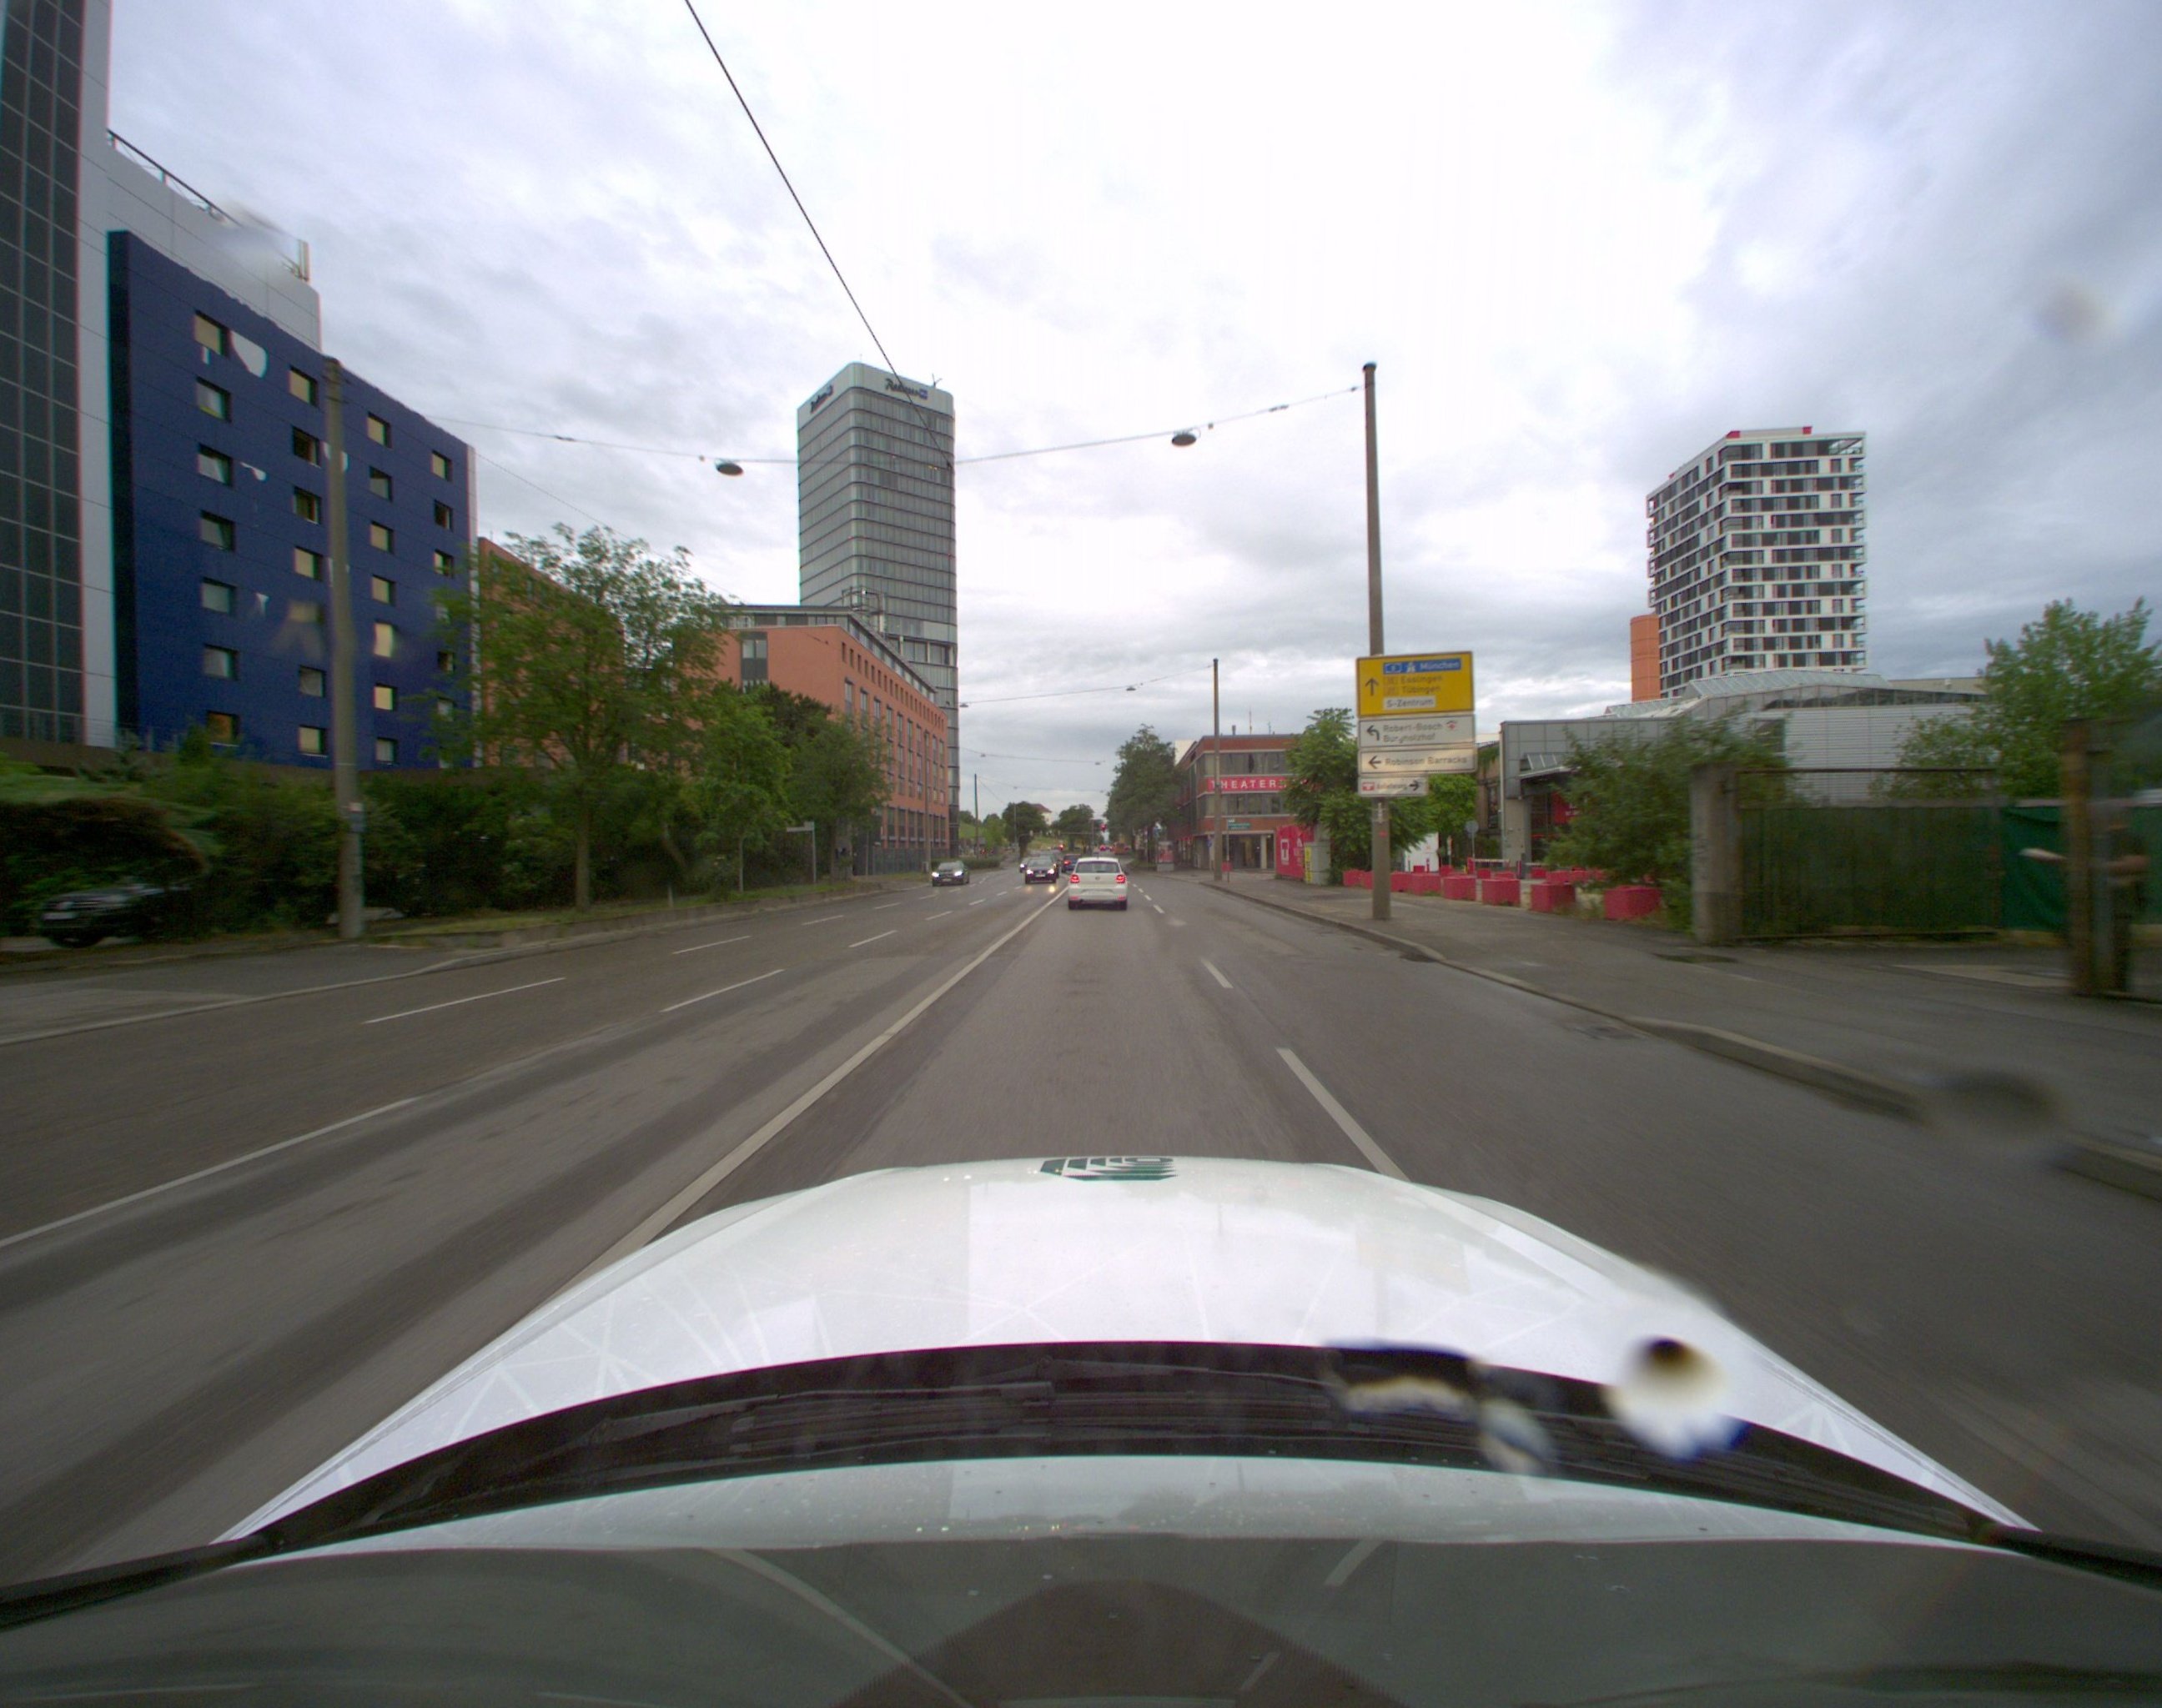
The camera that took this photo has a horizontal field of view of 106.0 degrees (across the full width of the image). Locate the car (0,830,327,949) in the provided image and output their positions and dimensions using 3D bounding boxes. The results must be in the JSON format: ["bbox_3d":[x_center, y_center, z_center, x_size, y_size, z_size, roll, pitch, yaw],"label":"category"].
[{"bbox_3d":[-18.412,0.694,16.639,1.829,2.014,4.317,-4,-2,2],"label":"car"}]

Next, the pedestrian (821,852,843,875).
[{"bbox_3d":[-19.519,0.750,63.848,1.202,1.679,1.420,-4,-2,2],"label":"pedestrian"}]

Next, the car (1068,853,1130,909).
[{"bbox_3d":[0.530,0.730,23.859,1.665,1.474,3.780,-1,0,1],"label":"car"}]

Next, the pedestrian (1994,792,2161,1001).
[{"bbox_3d":[9.066,0.356,7.332,0.903,1.764,0.772,0,-1,26],"label":"pedestrian"}]

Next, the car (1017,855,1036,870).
[{"bbox_3d":[-5.399,0.813,80.939,1.707,1.365,3.997,-2,0,-2],"label":"car"}]

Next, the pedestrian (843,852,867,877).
[{"bbox_3d":[-17.461,0.856,62.894,1.310,1.823,1.439,-4,-2,1],"label":"pedestrian"}]

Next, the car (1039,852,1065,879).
[{"bbox_3d":[-1.942,0.779,55.893,1.497,1.666,3.421,-2,1,2],"label":"car"}]

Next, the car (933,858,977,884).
[{"bbox_3d":[-7.441,0.988,48.535,1.614,1.323,4.450,-3,1,3],"label":"car"}]

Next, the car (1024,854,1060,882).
[{"bbox_3d":[-2.139,0.749,45.659,1.653,1.486,3.821,-1,0,2],"label":"car"}]

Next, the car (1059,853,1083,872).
[{"bbox_3d":[-0.806,0.687,70.927,1.987,1.574,3.999,-1,0,0],"label":"car"}]
